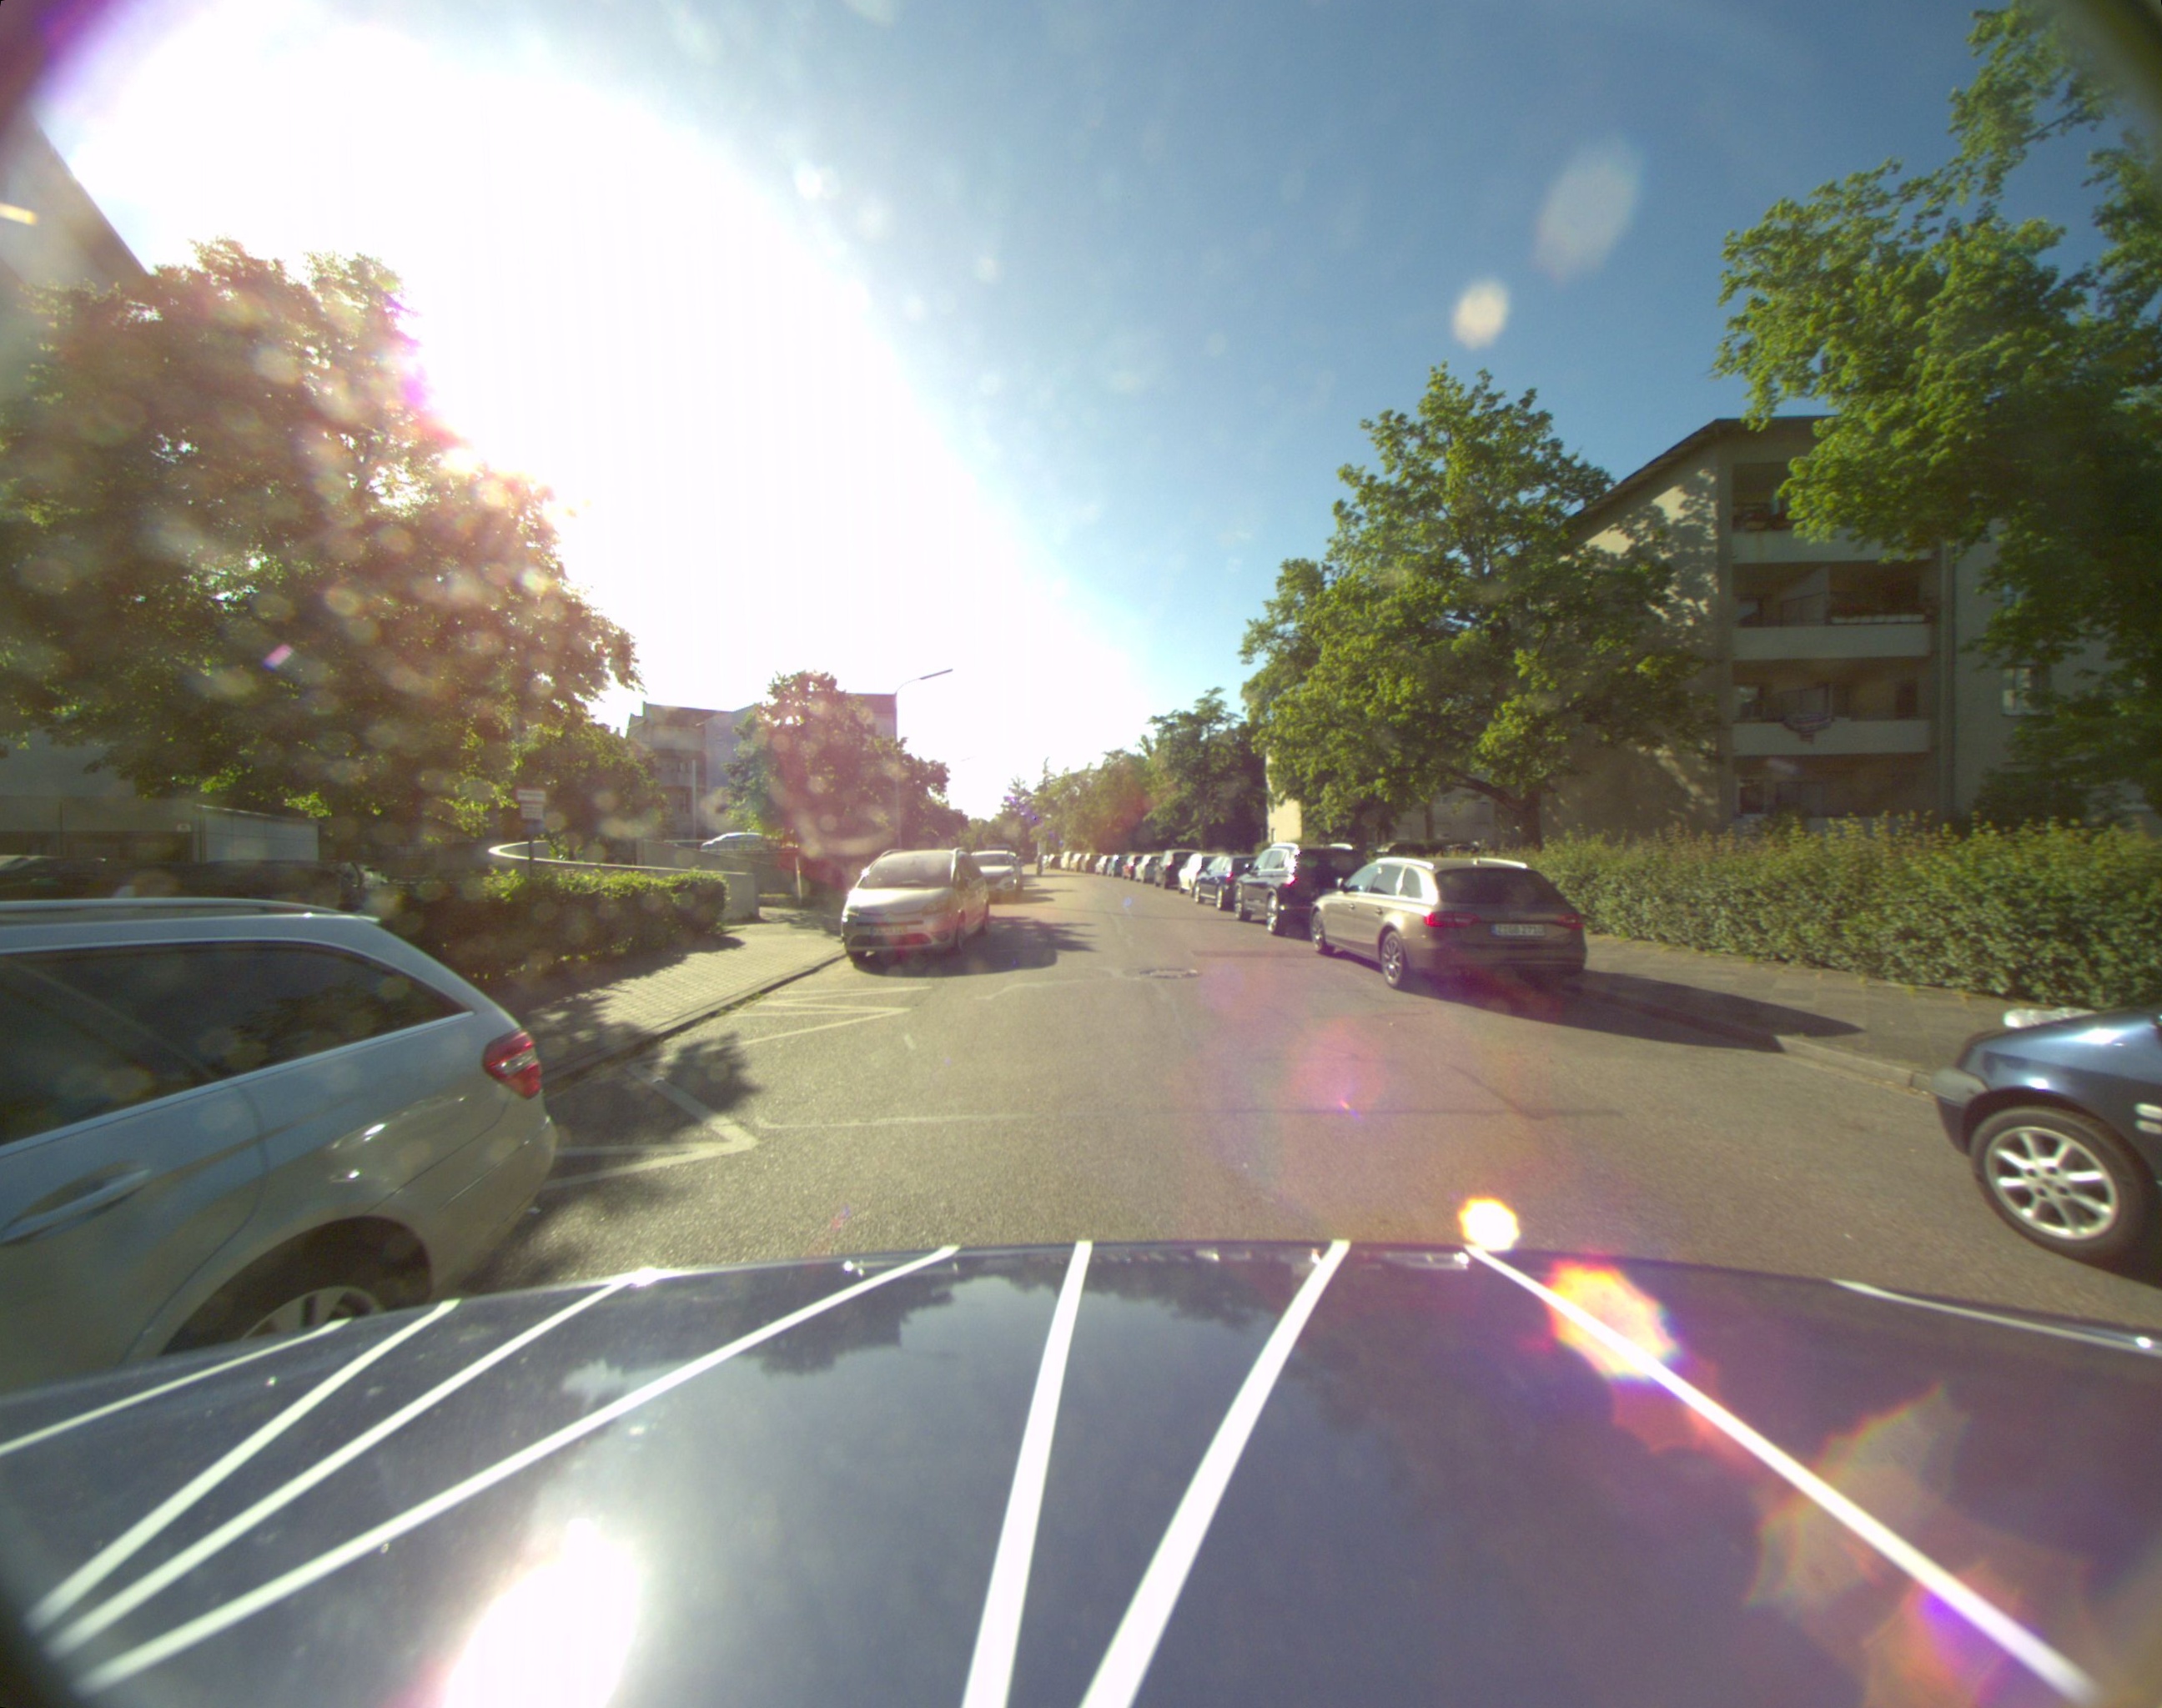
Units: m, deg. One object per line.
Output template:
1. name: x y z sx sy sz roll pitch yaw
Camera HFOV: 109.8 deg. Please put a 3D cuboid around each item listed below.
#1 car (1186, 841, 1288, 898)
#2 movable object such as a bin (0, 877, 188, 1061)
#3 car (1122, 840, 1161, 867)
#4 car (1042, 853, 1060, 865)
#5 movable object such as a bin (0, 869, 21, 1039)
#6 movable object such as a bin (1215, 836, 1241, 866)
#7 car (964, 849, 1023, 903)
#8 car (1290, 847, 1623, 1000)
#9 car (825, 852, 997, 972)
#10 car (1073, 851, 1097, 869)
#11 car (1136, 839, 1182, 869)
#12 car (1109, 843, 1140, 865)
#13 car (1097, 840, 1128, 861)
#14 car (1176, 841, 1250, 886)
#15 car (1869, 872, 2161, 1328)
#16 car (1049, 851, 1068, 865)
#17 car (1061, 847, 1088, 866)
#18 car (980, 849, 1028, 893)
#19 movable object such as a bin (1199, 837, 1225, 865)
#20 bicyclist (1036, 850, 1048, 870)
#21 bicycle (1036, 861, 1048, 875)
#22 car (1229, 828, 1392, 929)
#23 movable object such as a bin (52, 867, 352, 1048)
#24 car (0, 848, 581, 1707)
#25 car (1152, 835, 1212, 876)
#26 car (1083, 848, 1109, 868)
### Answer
1. car: 4.062 0.354 20.405 1.642 1.377 4.169 0 0 -4
2. movable object such as a bin: -9.002 0.947 6.532 1.328 1.423 1.029 -1 1 -6
3. car: 3.497 -0.056 44.314 1.636 1.470 3.877 0 1 -5
4. car: -3.660 0.558 93.326 1.659 1.427 3.686 0 1 -11
5. movable object such as a bin: -10.395 0.919 6.409 1.328 1.528 1.029 -1 1 -6
6. movable object such as a bin: 7.266 -0.130 37.695 0.897 1.407 1.264 -4 1 -4
7. car: -2.927 0.668 26.210 1.759 1.664 4.411 -1 1 -3
8. car: 4.150 0.631 9.433 1.759 1.377 4.673 0 1 -1
9. car: -2.630 0.806 12.875 1.758 1.617 4.495 -1 1 1
10. car: 0.303 0.505 69.481 1.659 1.621 3.687 0 1 -8
11. car: 3.975 -0.001 39.235 1.811 1.470 3.939 0 0 -3
12. car: 2.936 -0.021 51.359 1.658 1.470 3.104 0 1 -5
13. car: 2.322 -0.243 56.316 1.659 1.470 3.733 0 1 -7
14. car: 4.456 0.283 26.180 1.759 1.428 4.150 0 0 -1
15. car: 4.355 0.827 1.632 1.653 1.455 3.495 0 1 -1
16. car: -2.630 0.399 87.345 1.659 1.558 3.686 0 1 -11
17. car: -0.695 0.237 75.559 1.886 1.857 5.434 0 1 -10
18. car: -3.114 0.646 31.477 1.759 1.676 3.982 -1 1 -3
19. movable object such as a bin: 6.923 -0.164 40.292 1.007 1.407 1.264 -4 1 -4
20. bicyclist: -2.680 0.403 51.985 0.813 1.348 1.090 -1 1 -4
21. bicycle: -2.666 0.960 51.877 0.824 0.896 2.202 -1 1 -4
22. car: 4.216 0.387 14.737 1.759 1.659 4.389 0 0 -1
23. movable object such as a bin: -7.562 0.850 6.634 1.328 1.420 1.069 1 1 -6
24. car: -2.721 0.788 0.317 1.835 1.537 4.640 -1 1 1
25. car: 4.211 0.059 32.209 1.811 1.596 4.431 0 0 -2
26. car: 1.204 0.335 63.701 1.658 1.621 4.069 0 1 -6
